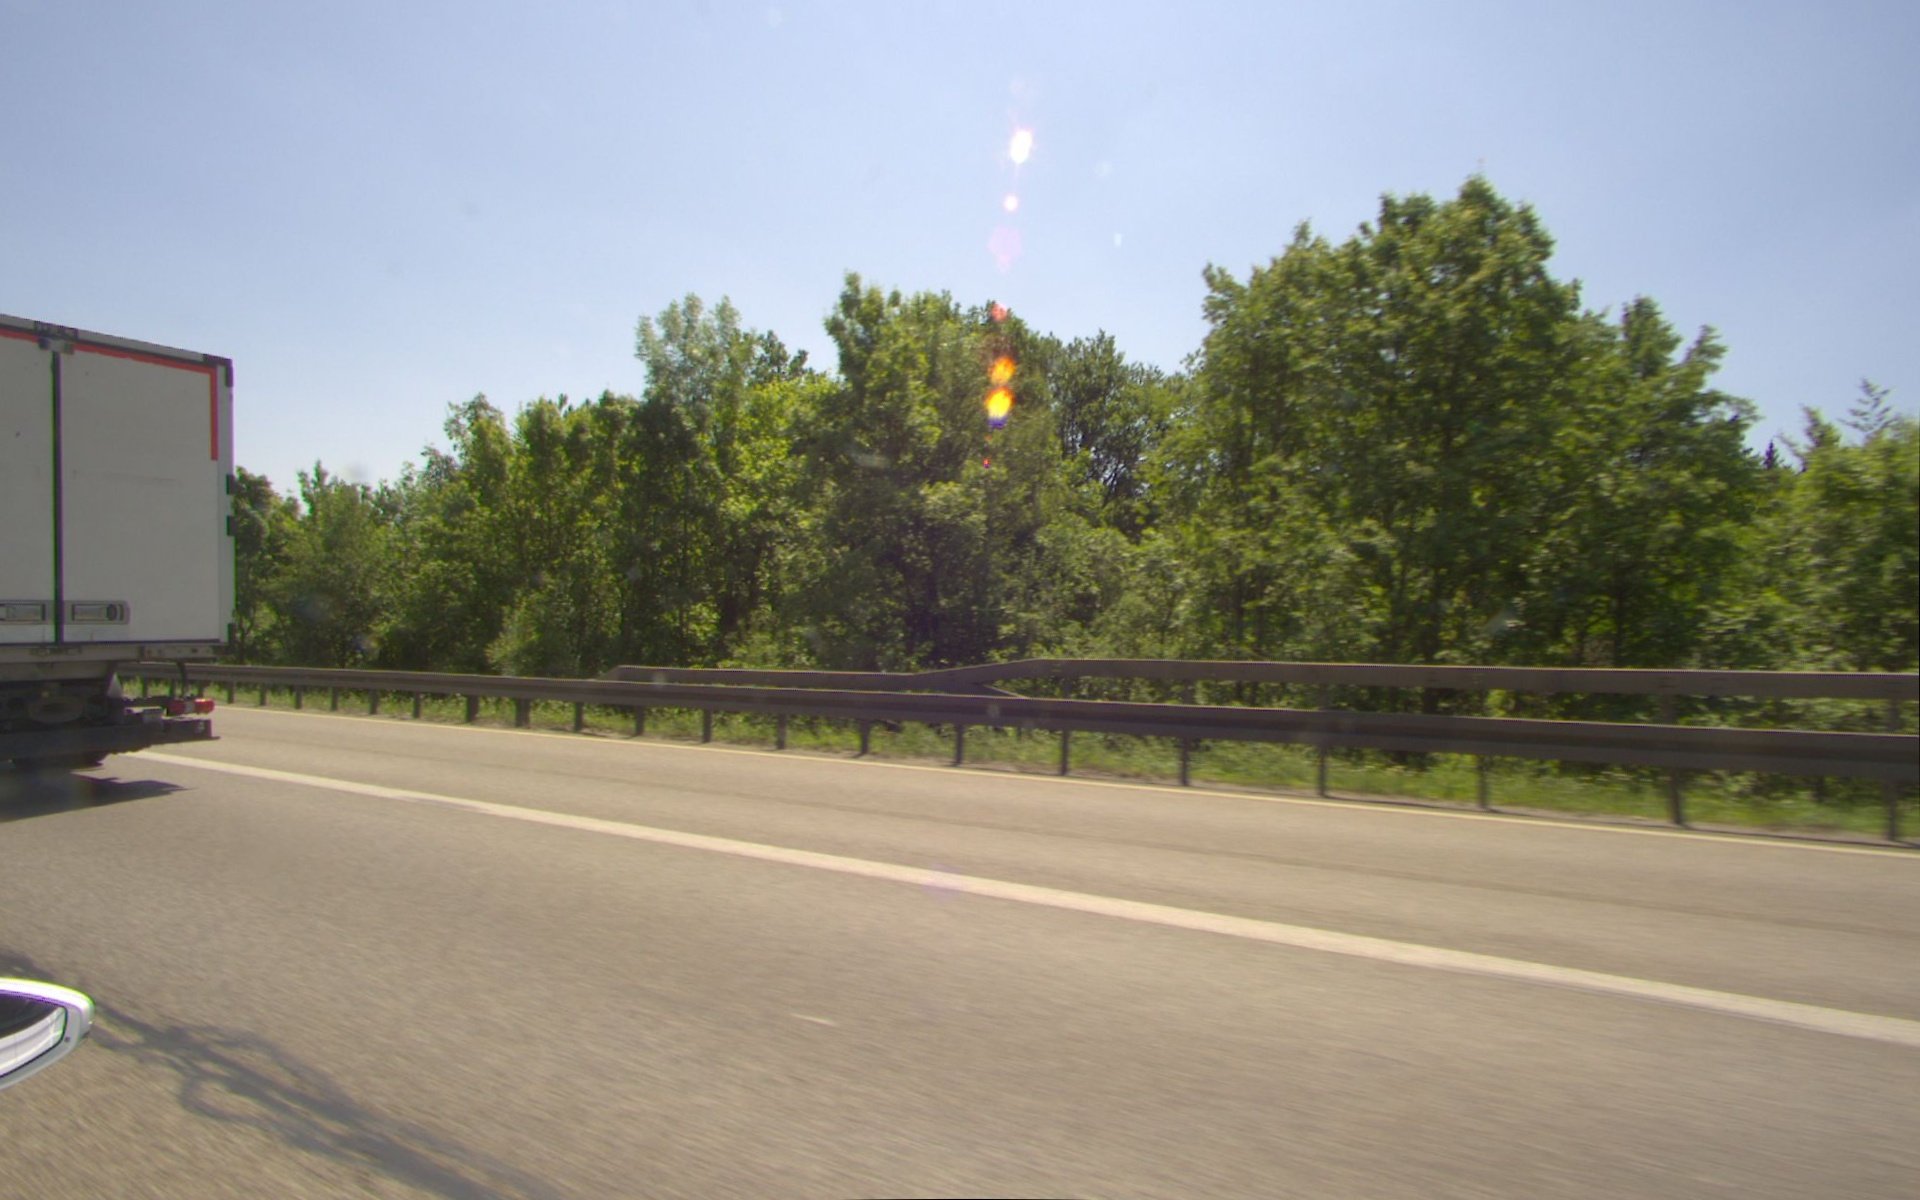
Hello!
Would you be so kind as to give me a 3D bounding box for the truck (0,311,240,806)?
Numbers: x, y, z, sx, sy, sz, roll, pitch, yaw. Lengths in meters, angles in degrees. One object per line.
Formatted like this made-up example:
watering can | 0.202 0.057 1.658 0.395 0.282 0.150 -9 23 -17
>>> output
truck | -11.538 -0.274 10.802 9.639 3.927 2.683 -1 0 32
